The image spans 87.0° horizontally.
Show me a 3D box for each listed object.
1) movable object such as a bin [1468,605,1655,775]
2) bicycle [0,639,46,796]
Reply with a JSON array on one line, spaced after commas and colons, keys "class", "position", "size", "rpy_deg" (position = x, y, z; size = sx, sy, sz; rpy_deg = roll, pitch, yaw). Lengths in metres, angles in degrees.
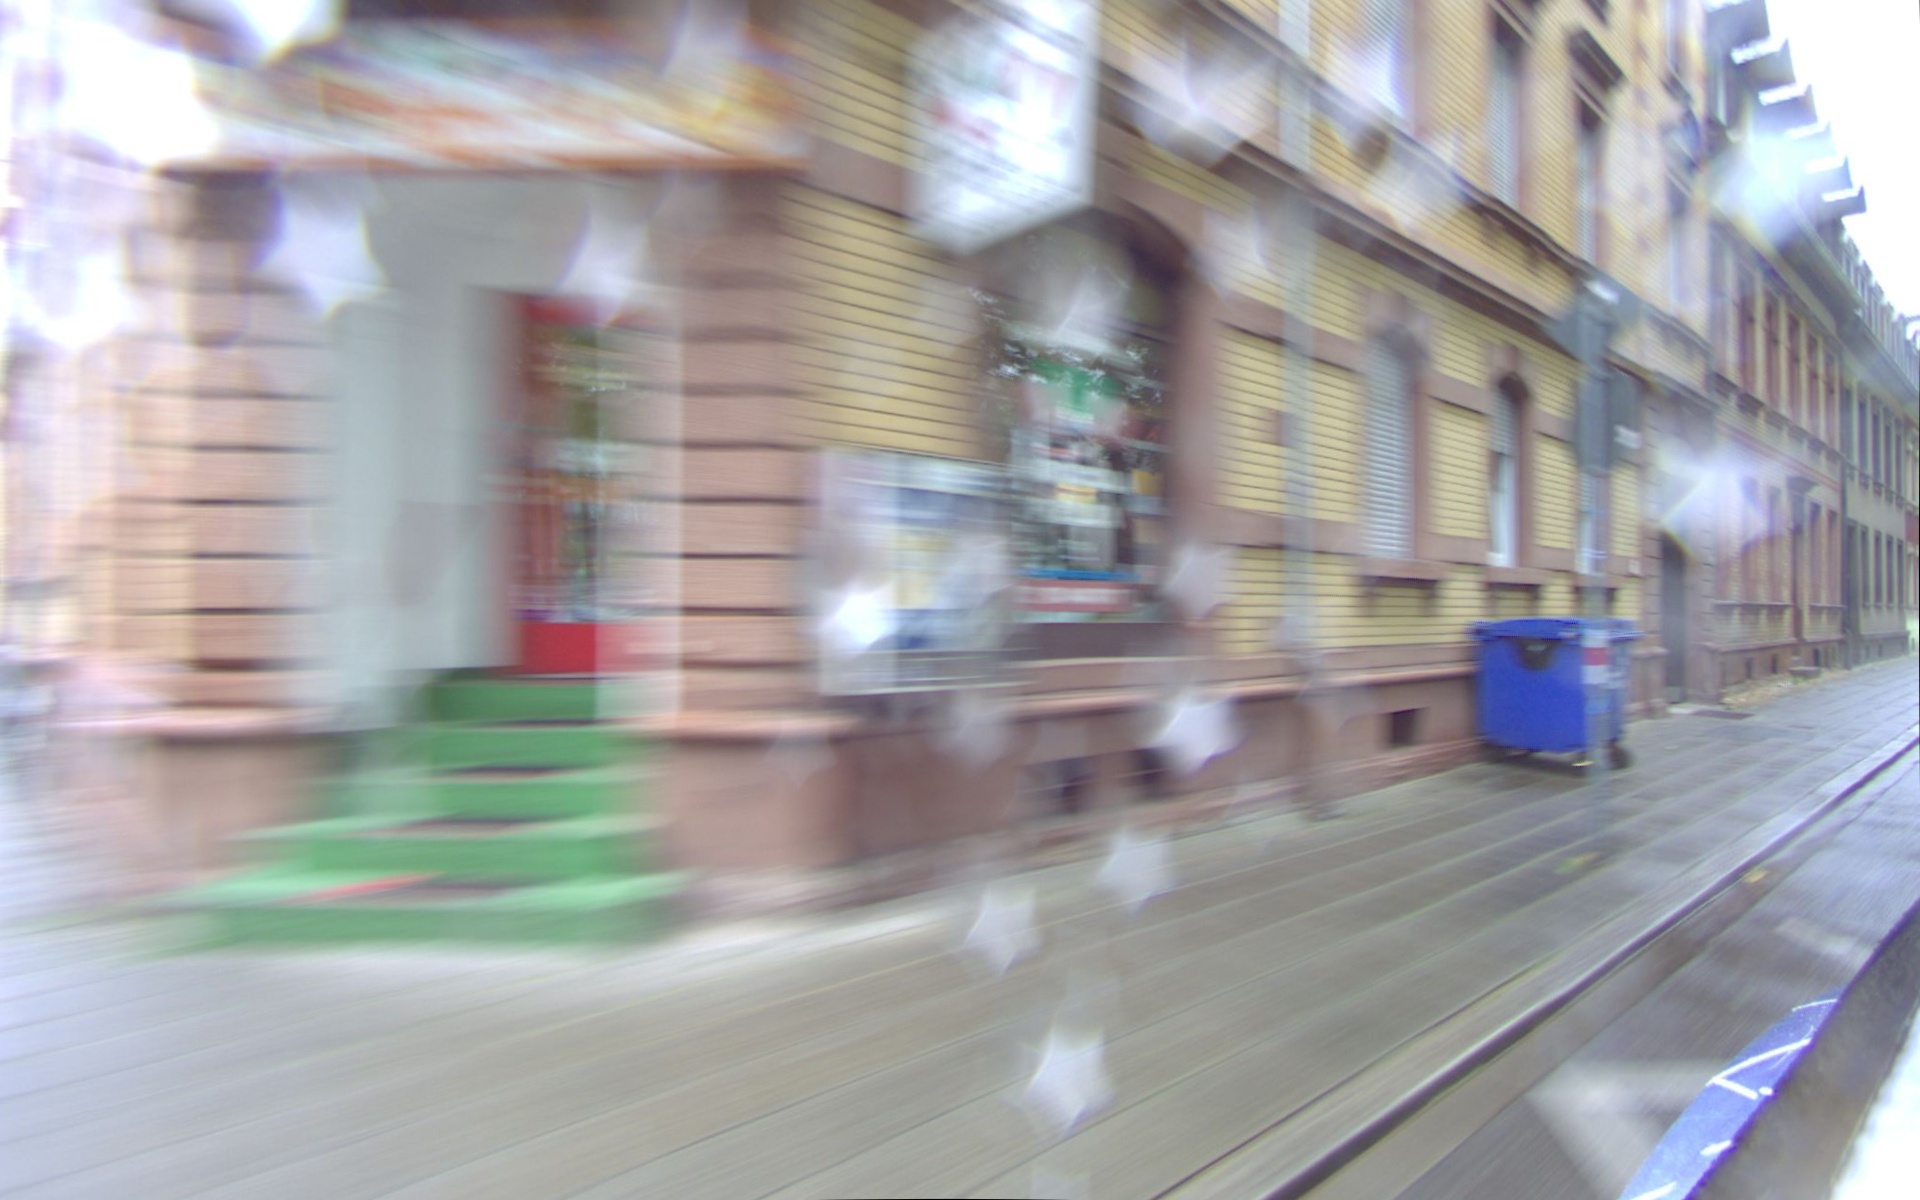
[{"class": "movable object such as a bin", "position": [5.300, 0.722, 8.907], "size": [1.343, 1.318, 1.023], "rpy_deg": [1, 1, -41]}, {"class": "bicycle", "position": [-6.936, 0.808, 7.272], "size": [1.537, 1.020, 0.428], "rpy_deg": [-1, -2, 44]}]
